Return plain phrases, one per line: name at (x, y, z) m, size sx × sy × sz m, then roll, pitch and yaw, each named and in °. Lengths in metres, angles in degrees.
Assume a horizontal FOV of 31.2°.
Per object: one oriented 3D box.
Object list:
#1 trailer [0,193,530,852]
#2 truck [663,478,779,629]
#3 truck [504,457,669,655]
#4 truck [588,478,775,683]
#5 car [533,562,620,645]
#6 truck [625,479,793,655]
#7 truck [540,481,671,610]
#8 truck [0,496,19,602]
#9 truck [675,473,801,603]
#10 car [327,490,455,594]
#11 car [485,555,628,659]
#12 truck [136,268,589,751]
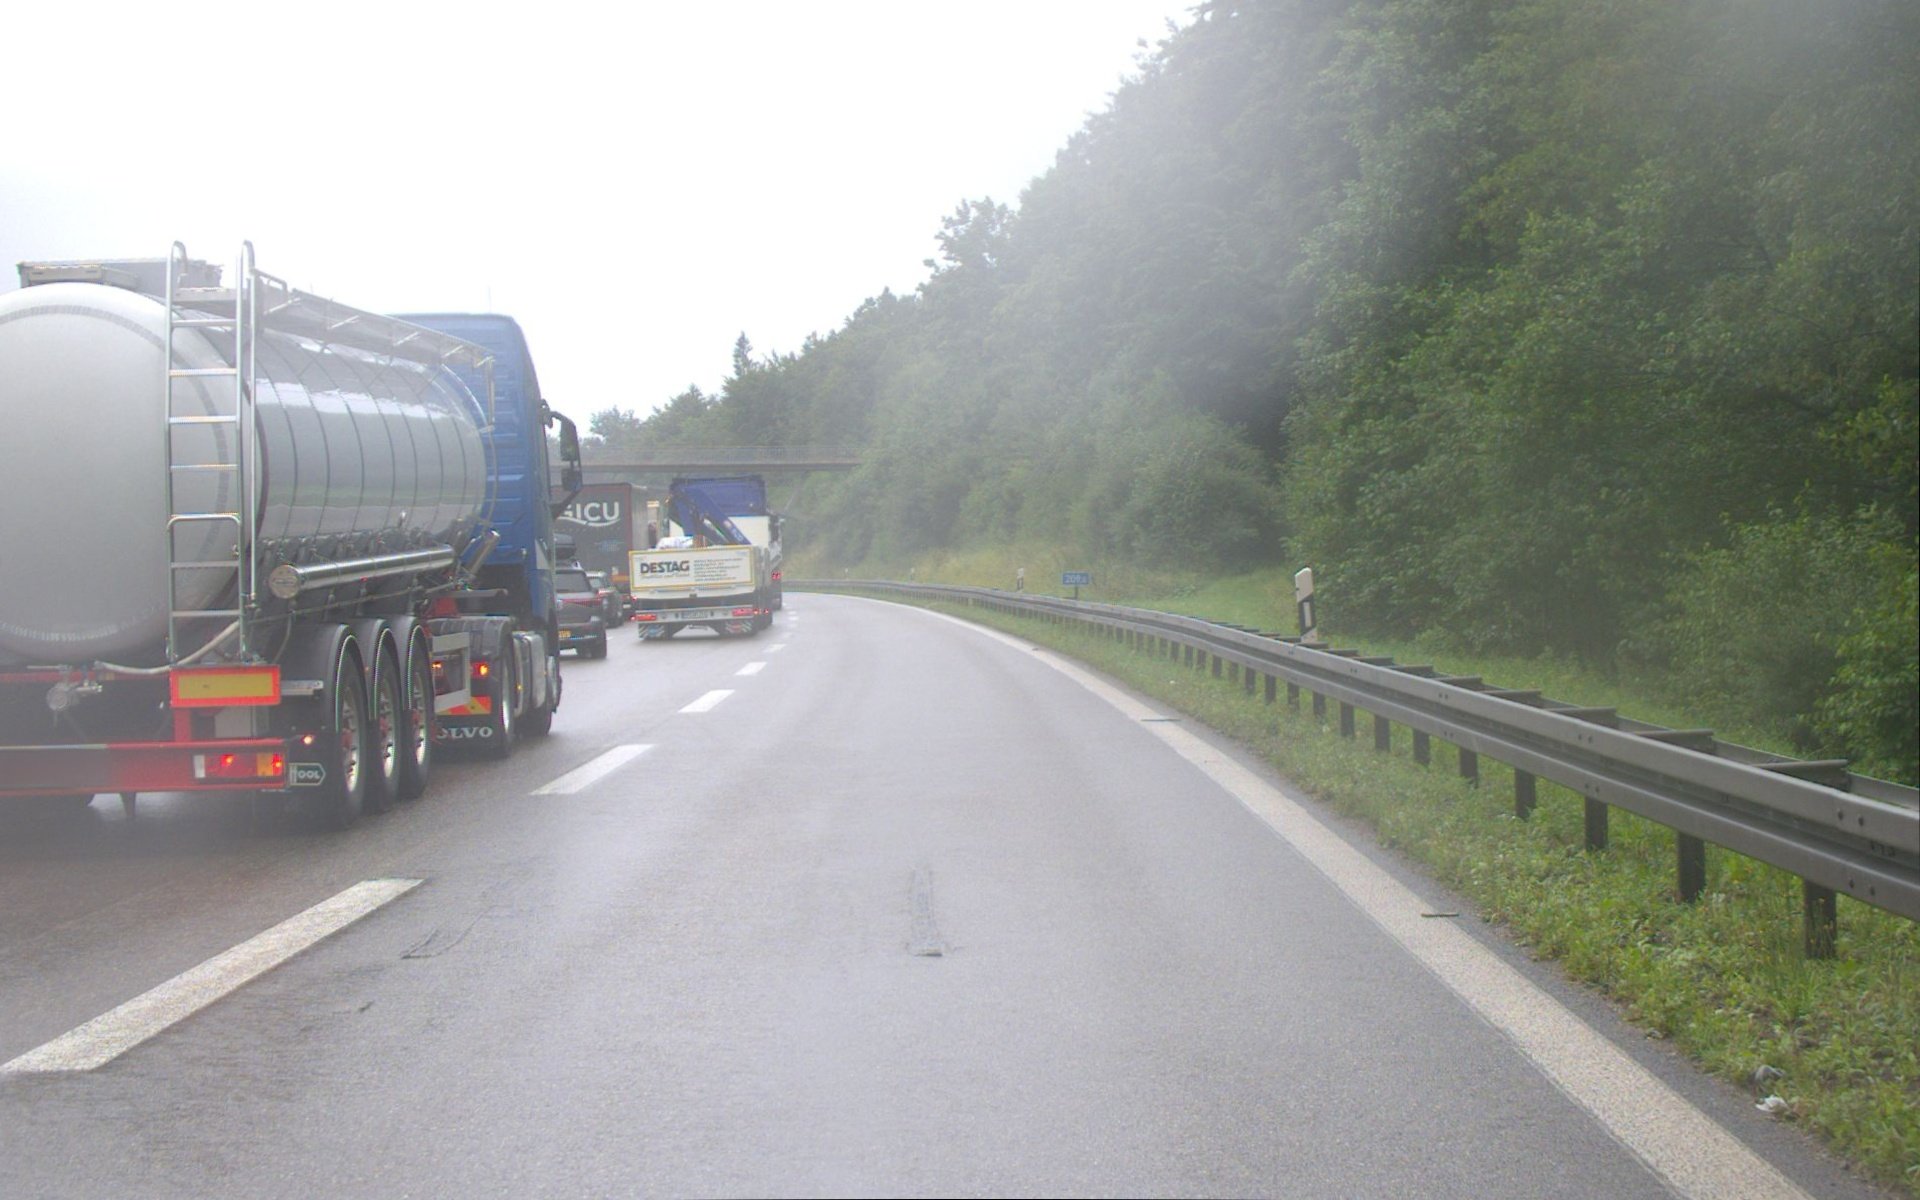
trailer at (-4.873, -0.441, 22.276) m, size 2.873 × 3.277 × 10.078 m, roll -1°, pitch 1°, yaw 0°
truck at (-9.729, -1.790, 140.966) m, size 4.336 × 5.744 × 9.731 m, roll 2°, pitch -1°, yaw -3°
truck at (-11.102, -1.187, 103.352) m, size 3.754 × 5.480 × 10.172 m, roll 2°, pitch -1°, yaw -1°
truck at (-5.995, -0.469, 75.984) m, size 3.599 × 4.091 × 11.561 m, roll -1°, pitch 1°, yaw -3°
car at (-9.976, 0.114, 89.734) m, size 1.793 × 2.007 × 4.000 m, roll 2°, pitch -1°, yaw -1°
truck at (-6.584, -0.753, 91.928) m, size 3.507 × 4.253 × 10.602 m, roll 2°, pitch -1°, yaw 0°
truck at (-12.255, -1.809, 119.849) m, size 3.576 × 4.082 × 10.879 m, roll -1°, pitch -1°, yaw -1°
truck at (-36.950, -1.889, 126.990) m, size 2.450 × 3.935 × 7.238 m, roll 0°, pitch 1°, yaw 0°
truck at (-7.641, -2.058, 119.819) m, size 3.754 × 3.957 × 11.059 m, roll 2°, pitch -1°, yaw -1°
car at (-11.060, -1.103, 67.036) m, size 1.797 × 1.832 × 4.000 m, roll 2°, pitch -1°, yaw -1°
car at (-6.843, 0.148, 58.679) m, size 1.993 × 1.631 × 4.000 m, roll 2°, pitch -1°, yaw -1°
truck at (-4.889, -0.731, 29.099) m, size 2.877 × 3.681 × 5.056 m, roll -1°, pitch 1°, yaw 0°
